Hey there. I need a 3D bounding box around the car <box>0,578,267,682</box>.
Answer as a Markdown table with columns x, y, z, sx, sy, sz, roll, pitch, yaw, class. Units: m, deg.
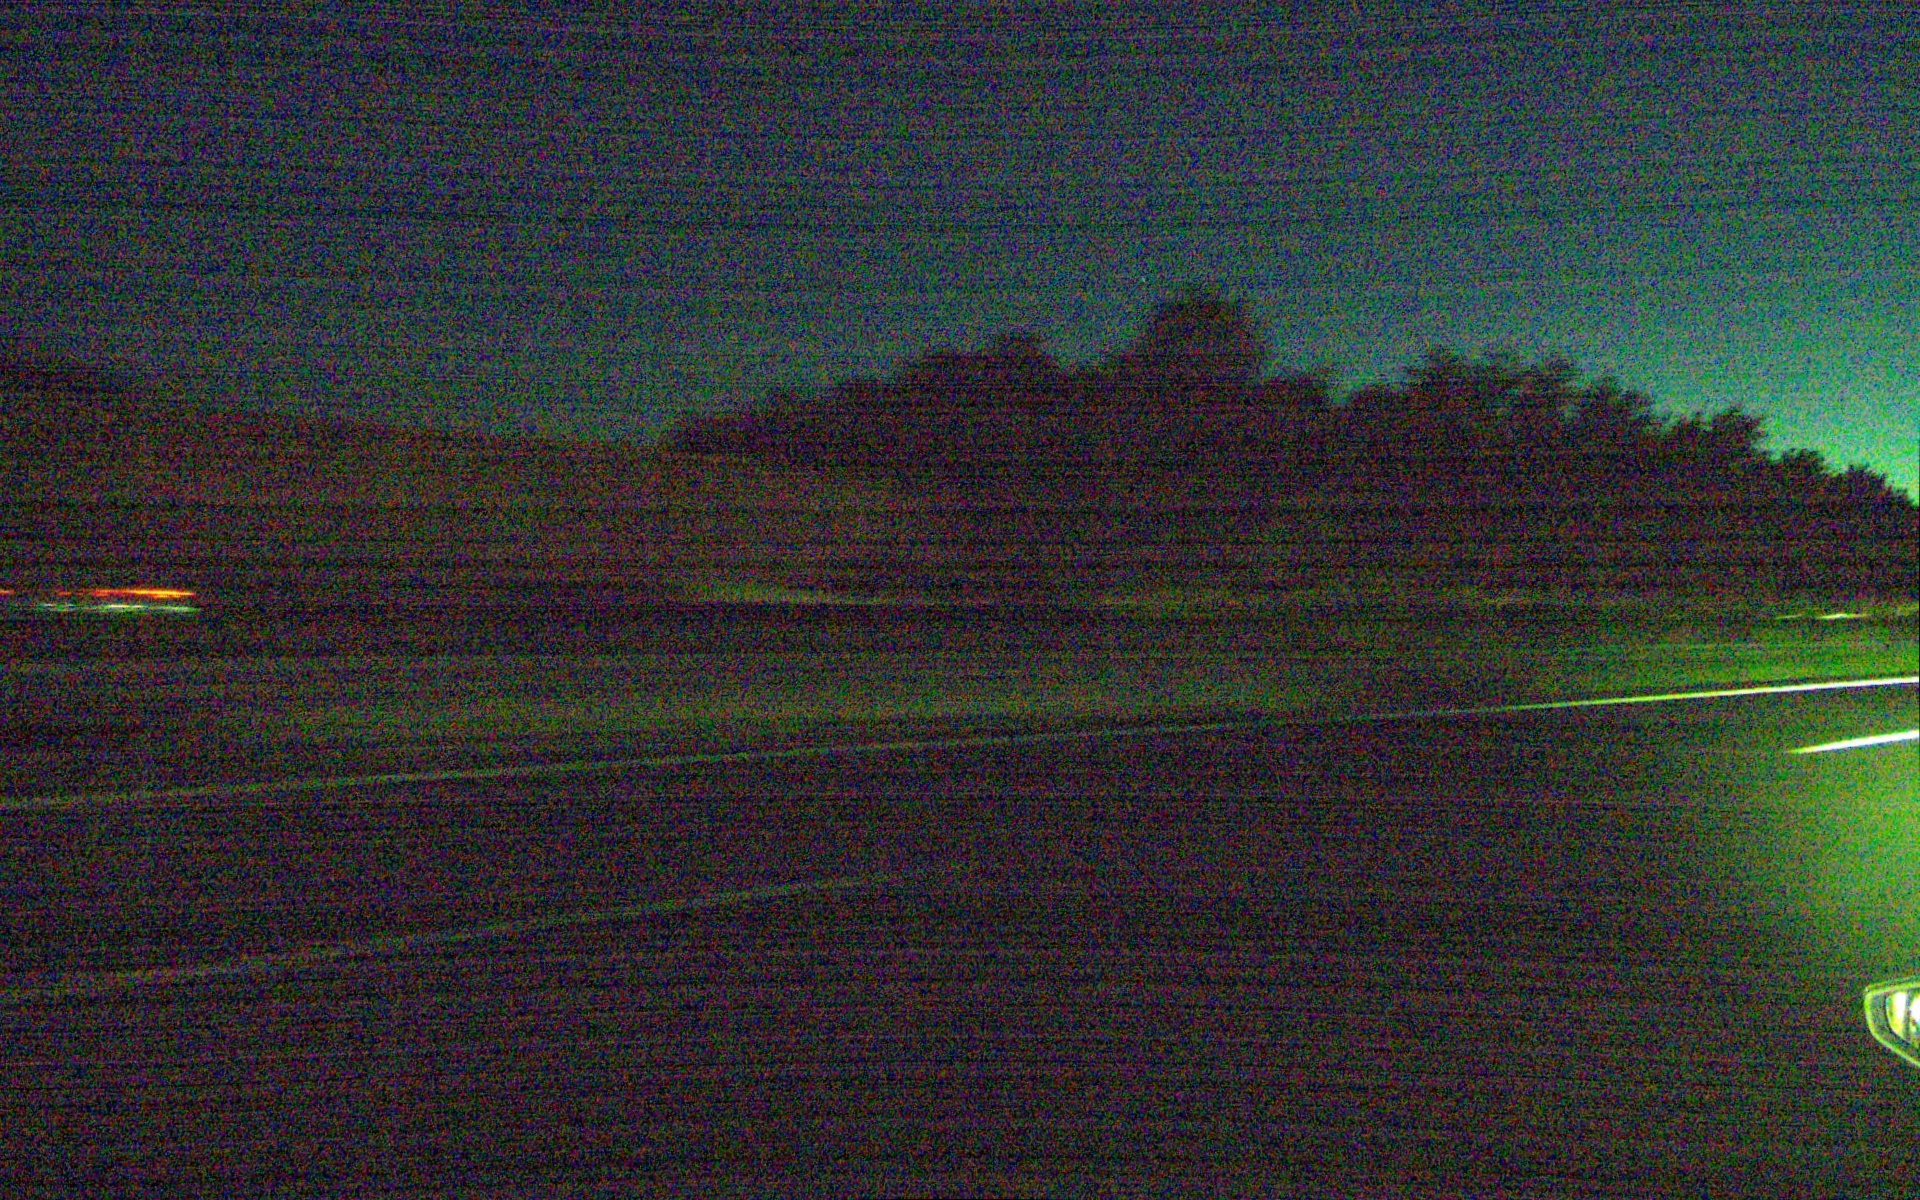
| x | y | z | sx | sy | sz | roll | pitch | yaw | class |
| --- | --- | --- | --- | --- | --- | --- | --- | --- | --- |
| -12.904 | 0.402 | 14.650 | 4.462 | 1.402 | 2.053 | 1 | 0 | -32 | car |
